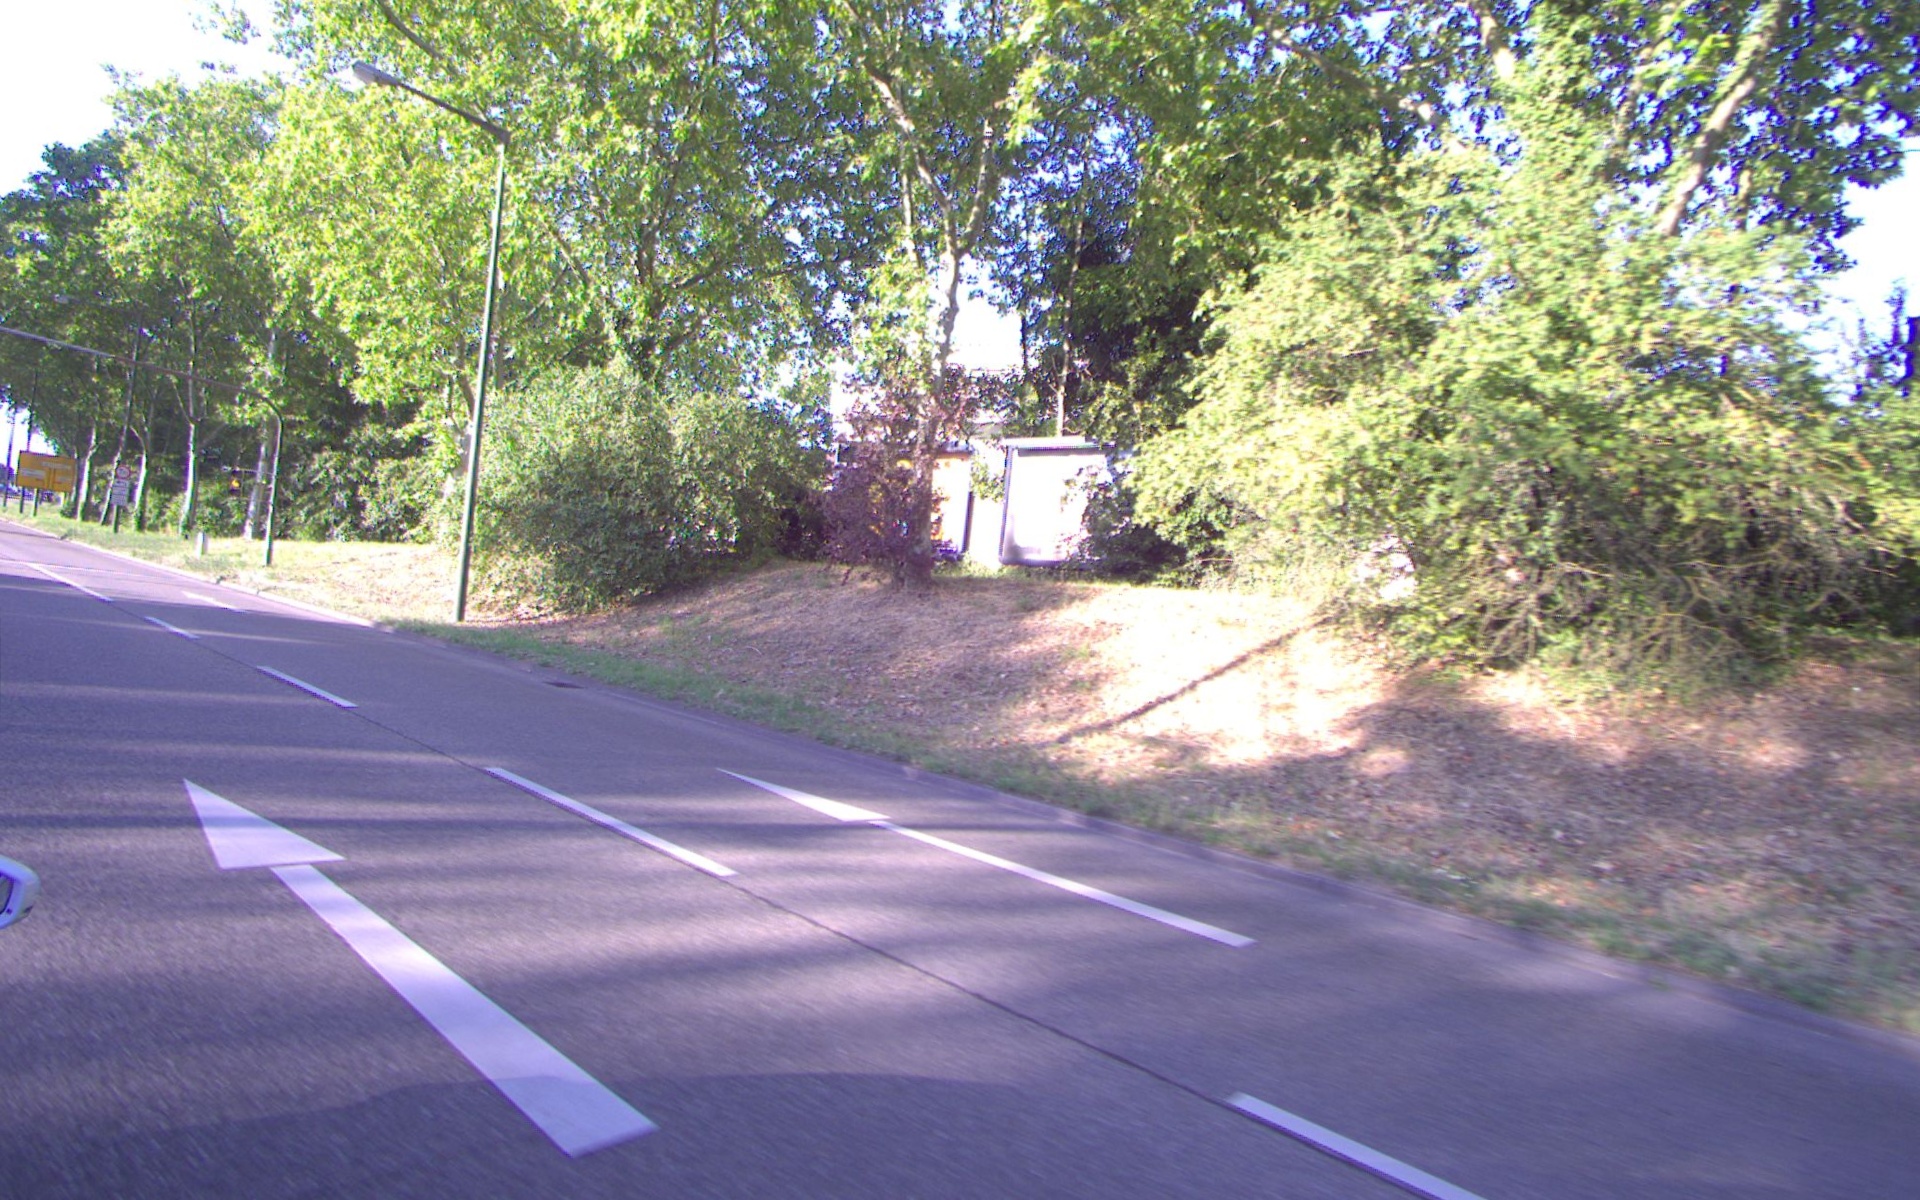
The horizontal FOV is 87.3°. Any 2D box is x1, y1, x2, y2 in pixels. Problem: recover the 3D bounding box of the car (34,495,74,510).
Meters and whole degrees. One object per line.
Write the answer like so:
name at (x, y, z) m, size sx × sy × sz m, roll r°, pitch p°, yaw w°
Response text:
car at (-125.333, -13.488, 139.154) m, size 1.768 × 1.419 × 3.685 m, roll 6°, pitch -2°, yaw 29°
